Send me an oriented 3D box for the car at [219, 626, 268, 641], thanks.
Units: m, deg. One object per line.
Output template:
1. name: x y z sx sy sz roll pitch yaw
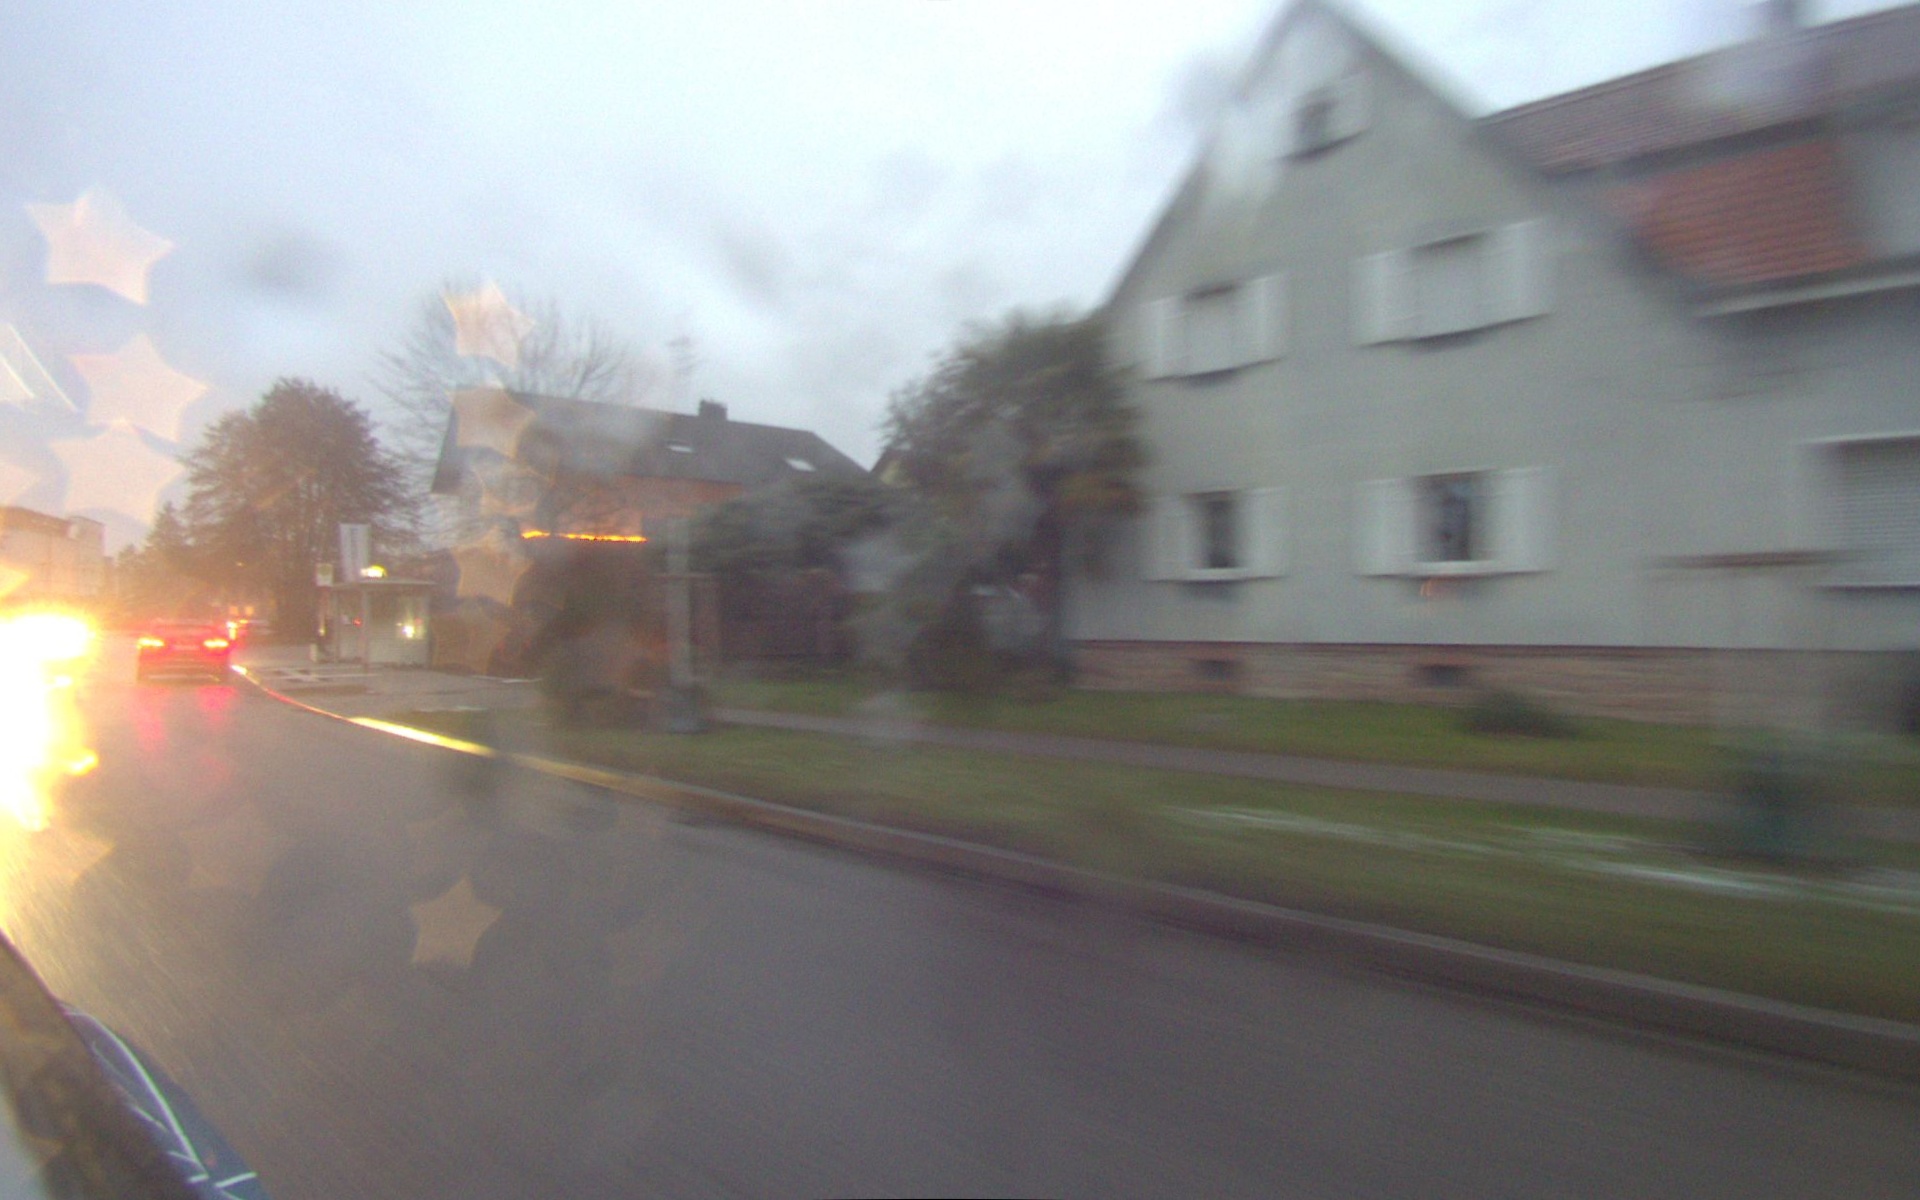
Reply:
1. car: -80.491 3.752 113.702 1.796 1.452 4.129 -4 -1 40

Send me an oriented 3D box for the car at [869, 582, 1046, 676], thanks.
1. car: 0.016 0.777 30.246 5.273 2.580 2.003 -1 -1 -42

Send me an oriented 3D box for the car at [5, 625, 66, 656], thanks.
1. car: -48.023 2.082 52.653 1.968 1.484 4.008 -1 -1 -37

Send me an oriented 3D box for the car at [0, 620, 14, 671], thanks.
1. car: -34.024 1.598 34.943 1.871 1.712 4.245 -3 1 -42

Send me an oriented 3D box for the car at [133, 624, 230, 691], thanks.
1. car: -19.900 1.414 25.853 1.800 1.566 4.008 2 -3 -38

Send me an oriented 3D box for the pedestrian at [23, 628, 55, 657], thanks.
1. pedestrian: -62.341 2.867 68.515 1.237 1.880 1.307 2 -2 -29
